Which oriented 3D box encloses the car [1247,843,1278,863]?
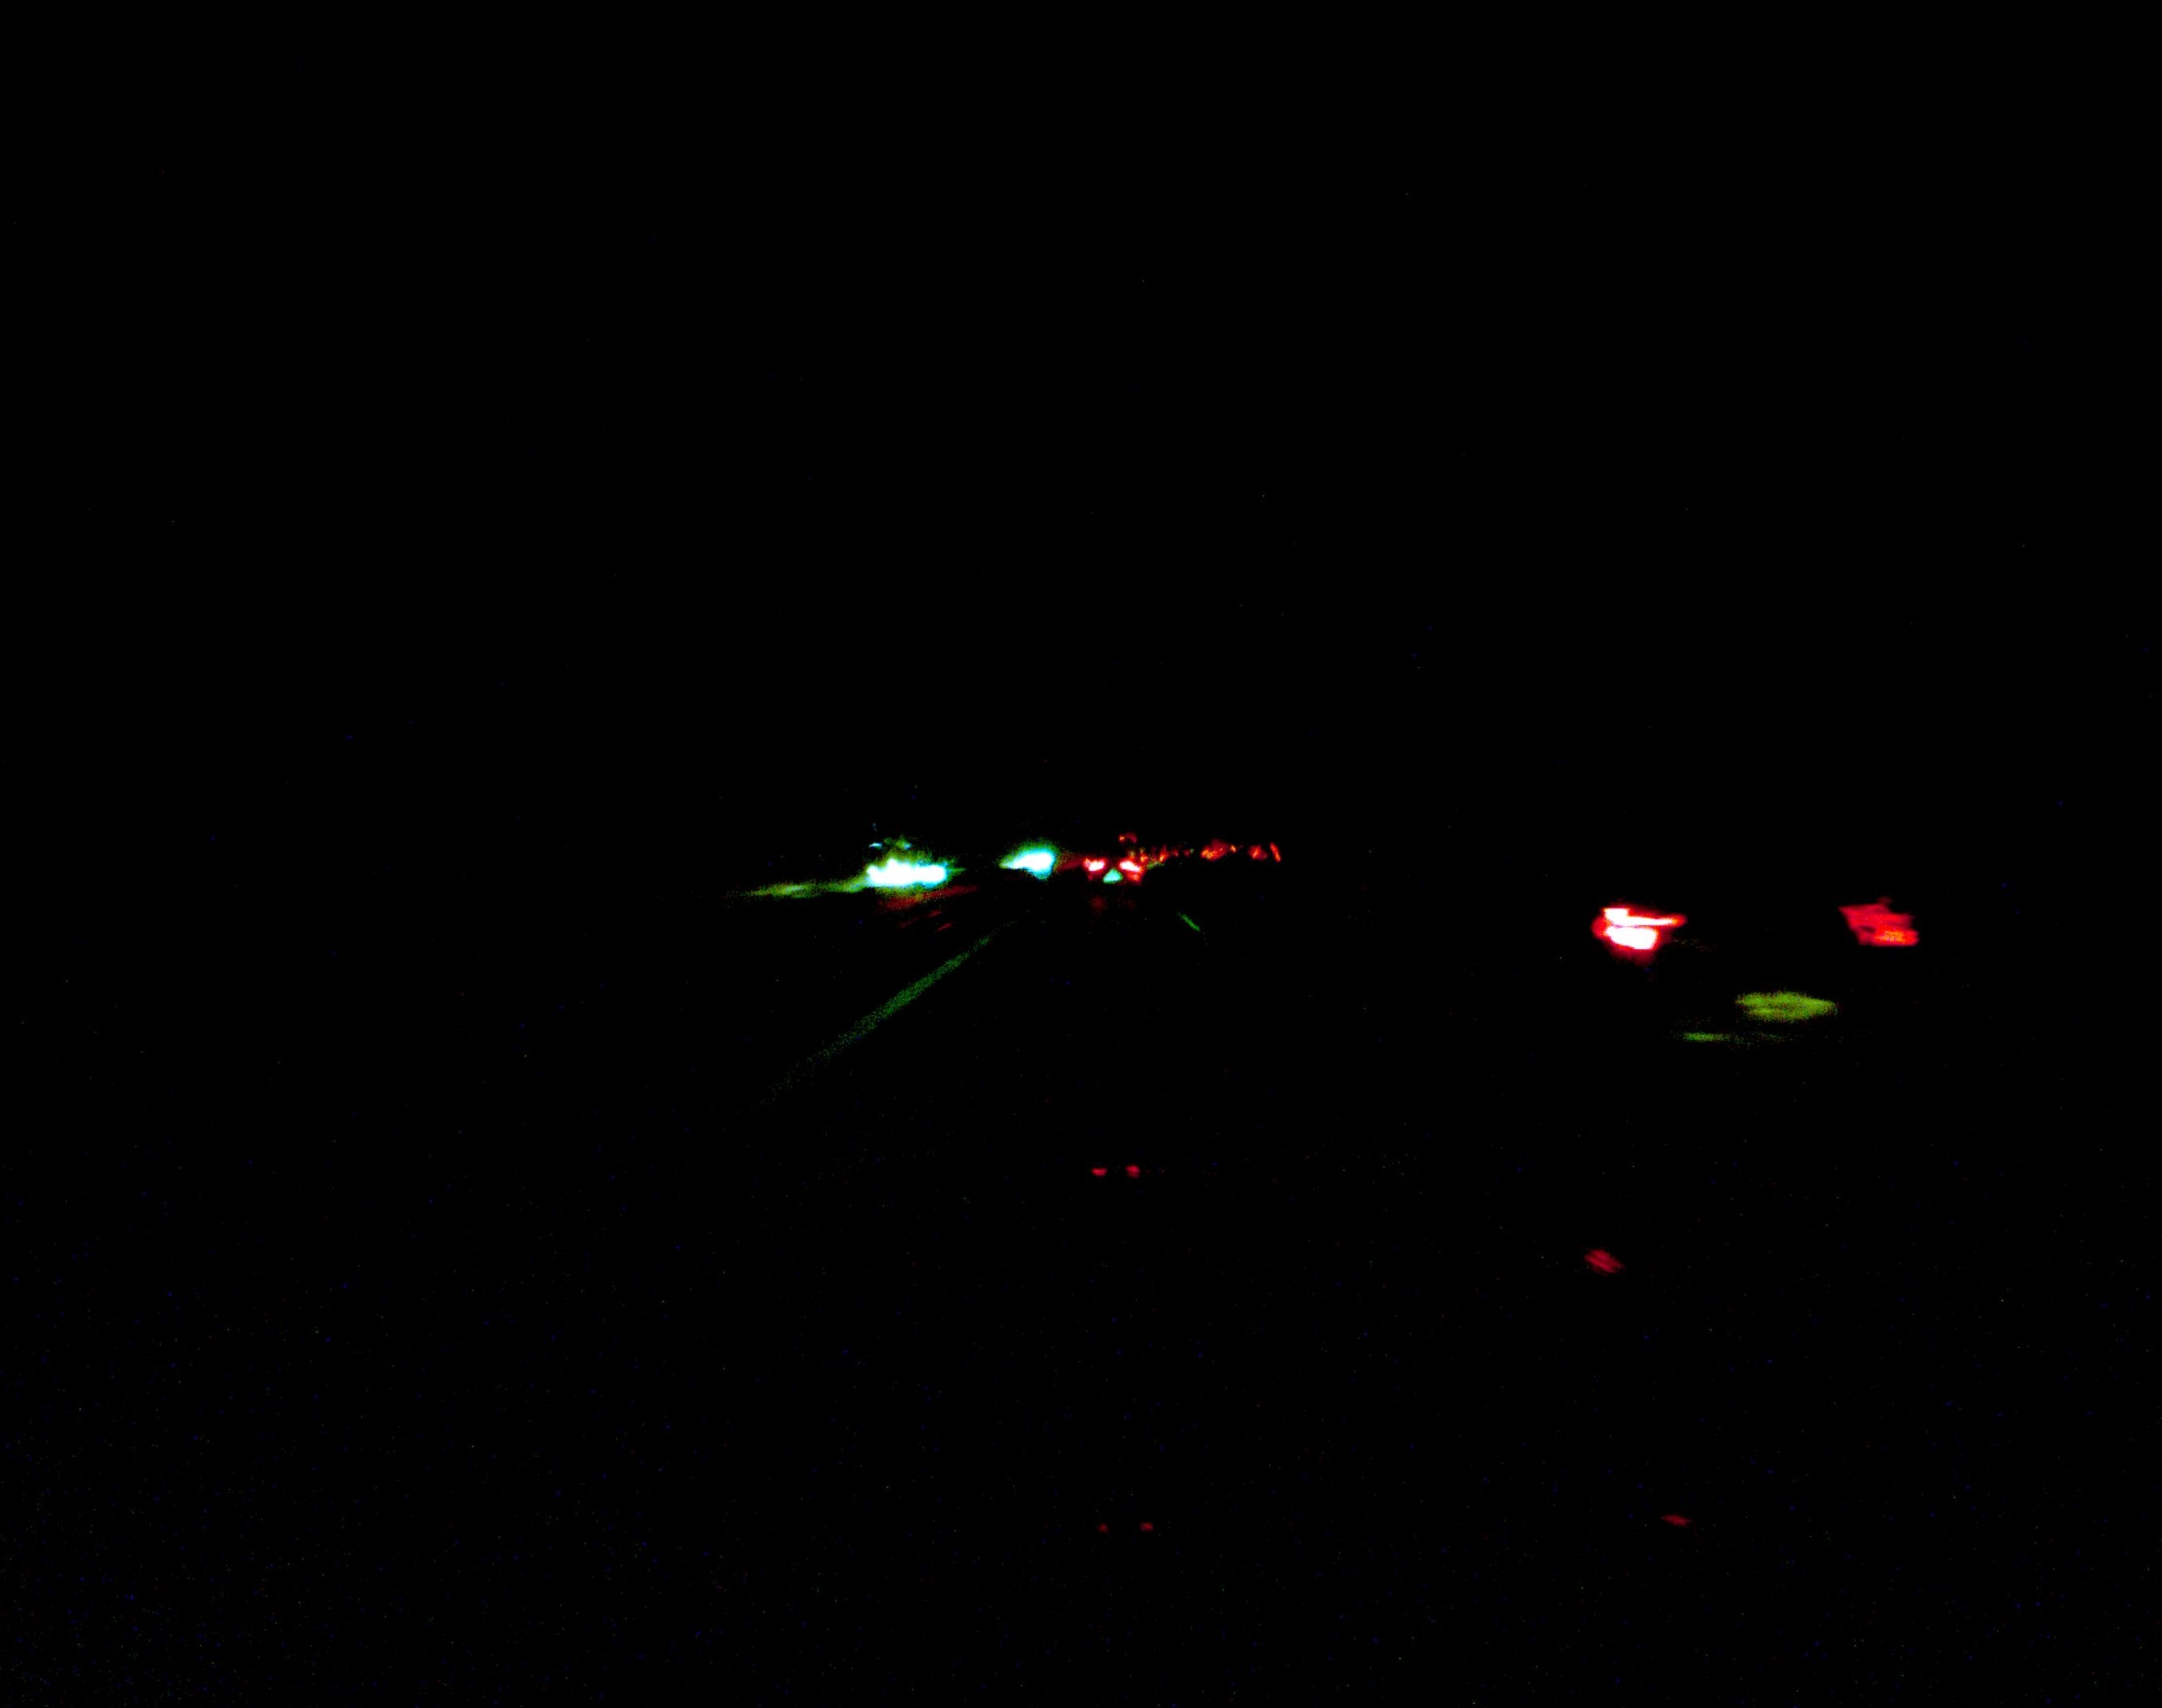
[{"bbox_3d":[14.887,-0.050,66.924,1.848,1.618,4.003,0,0,3],"label":"car"}]

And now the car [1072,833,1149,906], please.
[{"bbox_3d":[1.099,0.538,32.764,2.701,2.533,5.831,-3,1,0],"label":"car"}]

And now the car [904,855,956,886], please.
[{"bbox_3d":[-7.675,0.811,41.744,1.773,1.442,4.002,-2,0,2],"label":"car"}]

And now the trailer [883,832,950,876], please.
[{"bbox_3d":[-14.690,-0.031,74.141,2.630,3.570,14.162,-1,0,2],"label":"trailer"}]

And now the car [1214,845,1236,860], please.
[{"bbox_3d":[16.113,-0.163,91.048,1.849,1.618,4.001,0,0,1],"label":"car"}]

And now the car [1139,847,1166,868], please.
[{"bbox_3d":[5.851,0.276,66.967,2.128,1.618,4.003,0,0,3],"label":"car"}]

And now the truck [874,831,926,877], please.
[{"bbox_3d":[-14.901,-0.028,67.375,2.631,3.580,6.178,-1,0,2],"label":"truck"}]

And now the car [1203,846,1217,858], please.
[{"bbox_3d":[17.978,-0.251,113.795,1.704,1.558,4.007,0,0,6],"label":"car"}]

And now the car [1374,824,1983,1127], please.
[{"bbox_3d":[3.876,0.634,6.310,1.877,1.588,4.002,0,0,2],"label":"car"}]
